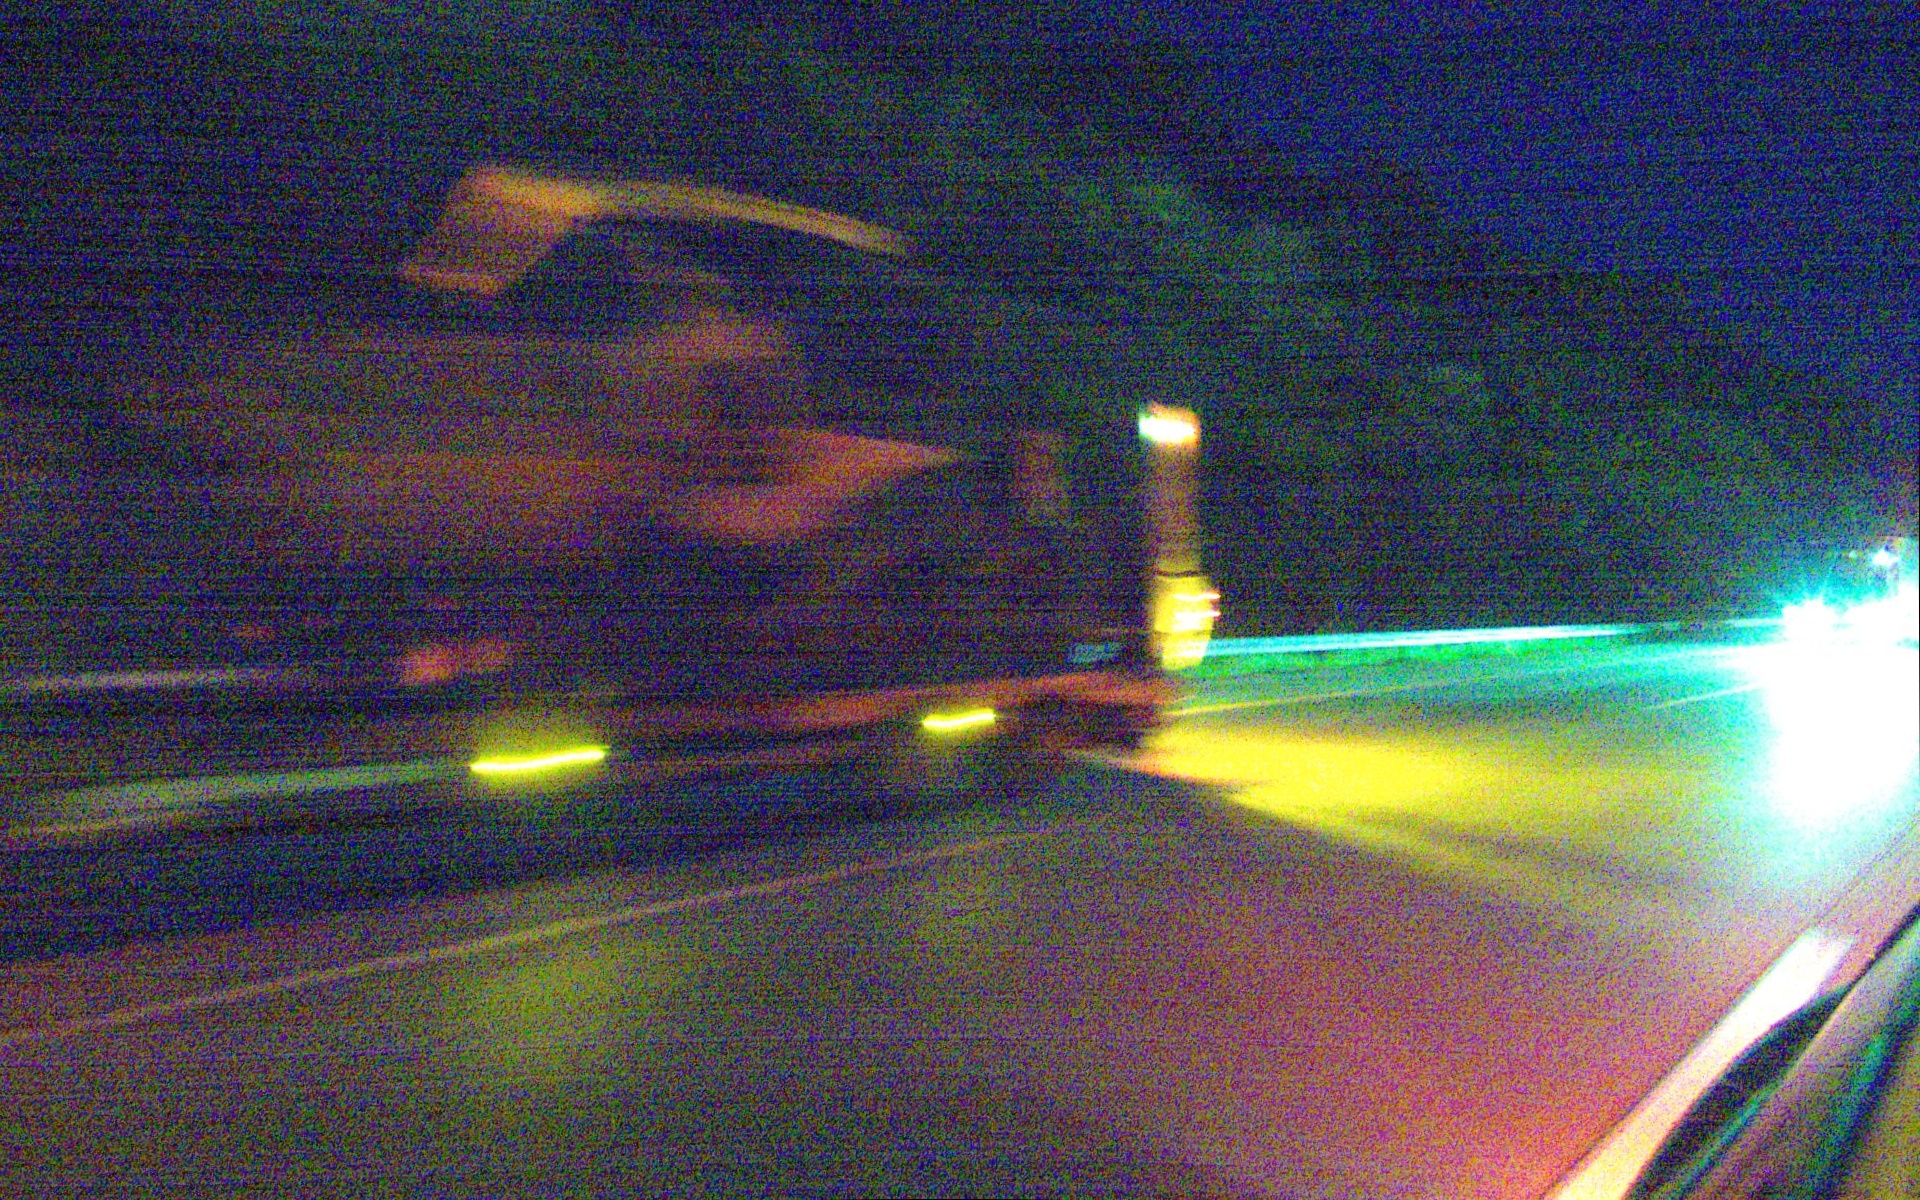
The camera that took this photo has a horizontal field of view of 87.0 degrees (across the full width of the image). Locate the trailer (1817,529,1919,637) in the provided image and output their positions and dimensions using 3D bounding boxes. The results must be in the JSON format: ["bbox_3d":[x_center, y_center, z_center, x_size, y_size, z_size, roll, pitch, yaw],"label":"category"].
[{"bbox_3d":[40.663,-0.670,43.740,15.482,4.024,2.839,0,1,-40],"label":"trailer"}]

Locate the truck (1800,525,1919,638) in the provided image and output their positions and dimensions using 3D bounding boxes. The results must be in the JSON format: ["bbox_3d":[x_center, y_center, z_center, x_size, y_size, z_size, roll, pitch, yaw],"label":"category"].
[{"bbox_3d":[34.101,-0.676,38.259,3.929,4.022,2.899,1,1,-40],"label":"truck"}]

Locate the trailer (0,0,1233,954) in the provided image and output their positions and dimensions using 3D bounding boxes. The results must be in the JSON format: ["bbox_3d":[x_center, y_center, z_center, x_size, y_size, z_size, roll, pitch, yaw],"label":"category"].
[{"bbox_3d":[-3.423,-0.701,5.830,12.657,3.980,2.880,-1,1,-40],"label":"trailer"}]
